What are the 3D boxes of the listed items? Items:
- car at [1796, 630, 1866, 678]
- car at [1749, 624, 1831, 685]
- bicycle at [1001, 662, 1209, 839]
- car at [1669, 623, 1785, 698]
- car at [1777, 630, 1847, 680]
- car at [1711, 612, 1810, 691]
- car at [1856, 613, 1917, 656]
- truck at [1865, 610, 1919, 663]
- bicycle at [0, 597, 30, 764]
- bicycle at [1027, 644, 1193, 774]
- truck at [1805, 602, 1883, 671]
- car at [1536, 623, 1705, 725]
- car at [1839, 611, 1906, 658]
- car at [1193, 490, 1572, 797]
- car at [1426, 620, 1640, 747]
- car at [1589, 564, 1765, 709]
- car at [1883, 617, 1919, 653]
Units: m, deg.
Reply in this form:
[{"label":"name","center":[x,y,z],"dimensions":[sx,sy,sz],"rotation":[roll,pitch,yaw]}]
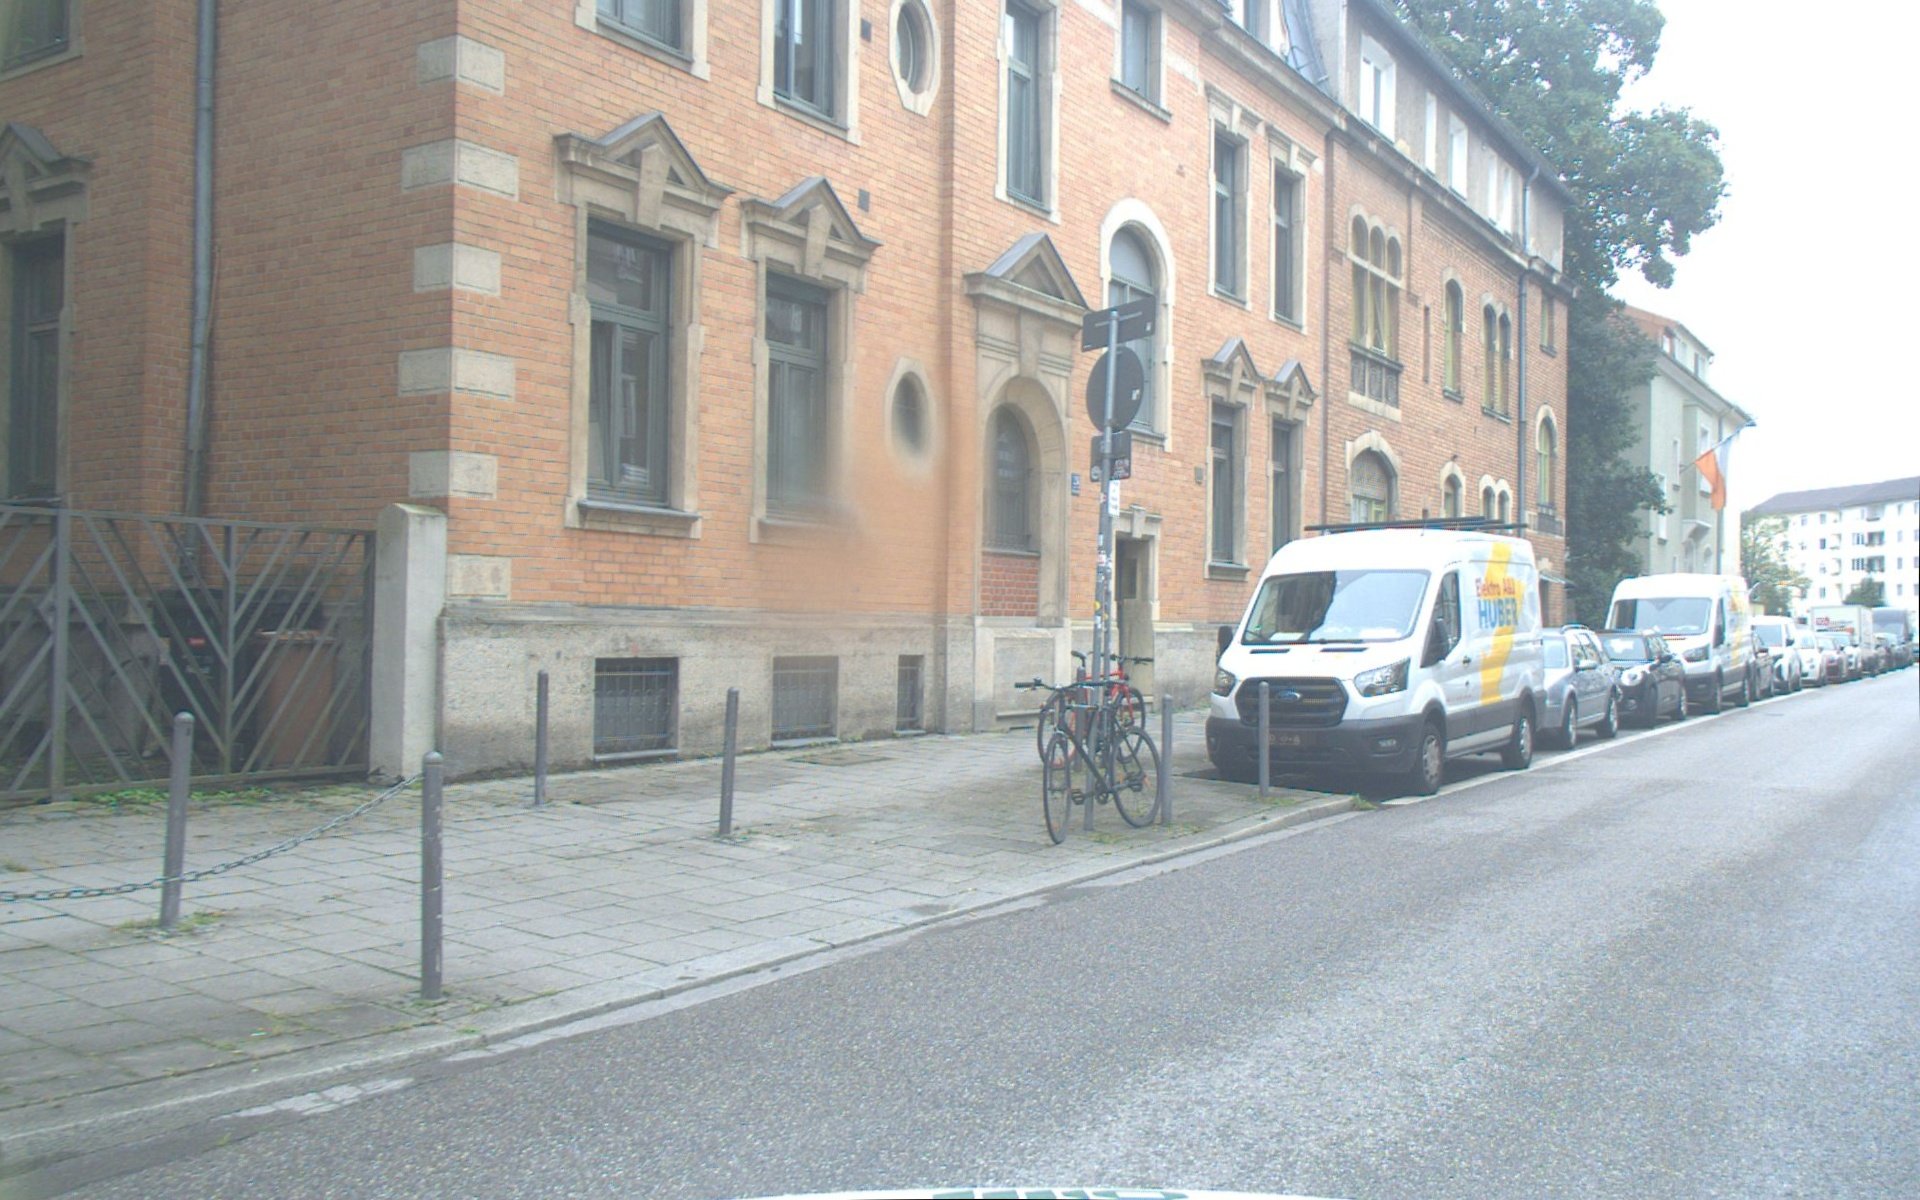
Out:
[{"label":"car","center":[28.253,1.717,53.595],"dimensions":[1.763,1.494,3.858],"rotation":[0,-1,31]},{"label":"car","center":[22.381,1.439,44.522],"dimensions":[1.811,1.567,3.993],"rotation":[0,-1,29]},{"label":"bicycle","center":[1.012,0.967,11.155],"dimensions":[0.570,1.072,1.755],"rotation":[-1,-1,37]},{"label":"car","center":[16.133,1.244,34.702],"dimensions":[1.713,1.470,3.989],"rotation":[0,-1,32]},{"label":"car","center":[25.011,1.585,48.495],"dimensions":[1.718,1.392,3.993],"rotation":[0,-1,29]},{"label":"car","center":[18.880,1.182,38.931],"dimensions":[1.787,1.741,3.991],"rotation":[0,-1,31]},{"label":"car","center":[39.780,1.482,70.961],"dimensions":[1.959,1.793,4.367],"rotation":[0,-1,34]},{"label":"truck","center":[43.247,1.699,76.540],"dimensions":[1.958,2.360,5.393],"rotation":[0,-1,34]},{"label":"bicycle","center":[-8.042,0.605,12.848],"dimensions":[2.039,1.240,0.534],"rotation":[0,-1,33]},{"label":"bicycle","center":[1.380,0.942,14.896],"dimensions":[0.570,1.072,1.887],"rotation":[1,-1,37]},{"label":"truck","center":[31.610,1.303,59.062],"dimensions":[1.958,2.360,5.393],"rotation":[0,-1,34]},{"label":"car","center":[10.300,1.100,25.652],"dimensions":[1.668,1.457,3.818],"rotation":[-1,-2,34]},{"label":"car","center":[36.146,1.358,65.489],"dimensions":[1.959,1.793,4.367],"rotation":[0,-1,34]},{"label":"car","center":[4.376,0.431,16.361],"dimensions":[1.957,2.511,5.455],"rotation":[-2,-2,33]},{"label":"car","center":[7.456,1.025,21.312],"dimensions":[1.659,1.480,3.985],"rotation":[-3,-2,33]},{"label":"car","center":[13.201,0.661,30.245],"dimensions":[2.099,2.391,5.354],"rotation":[0,-1,33]},{"label":"car","center":[49.504,1.826,86.321],"dimensions":[1.959,1.793,4.367],"rotation":[0,-1,34]}]
